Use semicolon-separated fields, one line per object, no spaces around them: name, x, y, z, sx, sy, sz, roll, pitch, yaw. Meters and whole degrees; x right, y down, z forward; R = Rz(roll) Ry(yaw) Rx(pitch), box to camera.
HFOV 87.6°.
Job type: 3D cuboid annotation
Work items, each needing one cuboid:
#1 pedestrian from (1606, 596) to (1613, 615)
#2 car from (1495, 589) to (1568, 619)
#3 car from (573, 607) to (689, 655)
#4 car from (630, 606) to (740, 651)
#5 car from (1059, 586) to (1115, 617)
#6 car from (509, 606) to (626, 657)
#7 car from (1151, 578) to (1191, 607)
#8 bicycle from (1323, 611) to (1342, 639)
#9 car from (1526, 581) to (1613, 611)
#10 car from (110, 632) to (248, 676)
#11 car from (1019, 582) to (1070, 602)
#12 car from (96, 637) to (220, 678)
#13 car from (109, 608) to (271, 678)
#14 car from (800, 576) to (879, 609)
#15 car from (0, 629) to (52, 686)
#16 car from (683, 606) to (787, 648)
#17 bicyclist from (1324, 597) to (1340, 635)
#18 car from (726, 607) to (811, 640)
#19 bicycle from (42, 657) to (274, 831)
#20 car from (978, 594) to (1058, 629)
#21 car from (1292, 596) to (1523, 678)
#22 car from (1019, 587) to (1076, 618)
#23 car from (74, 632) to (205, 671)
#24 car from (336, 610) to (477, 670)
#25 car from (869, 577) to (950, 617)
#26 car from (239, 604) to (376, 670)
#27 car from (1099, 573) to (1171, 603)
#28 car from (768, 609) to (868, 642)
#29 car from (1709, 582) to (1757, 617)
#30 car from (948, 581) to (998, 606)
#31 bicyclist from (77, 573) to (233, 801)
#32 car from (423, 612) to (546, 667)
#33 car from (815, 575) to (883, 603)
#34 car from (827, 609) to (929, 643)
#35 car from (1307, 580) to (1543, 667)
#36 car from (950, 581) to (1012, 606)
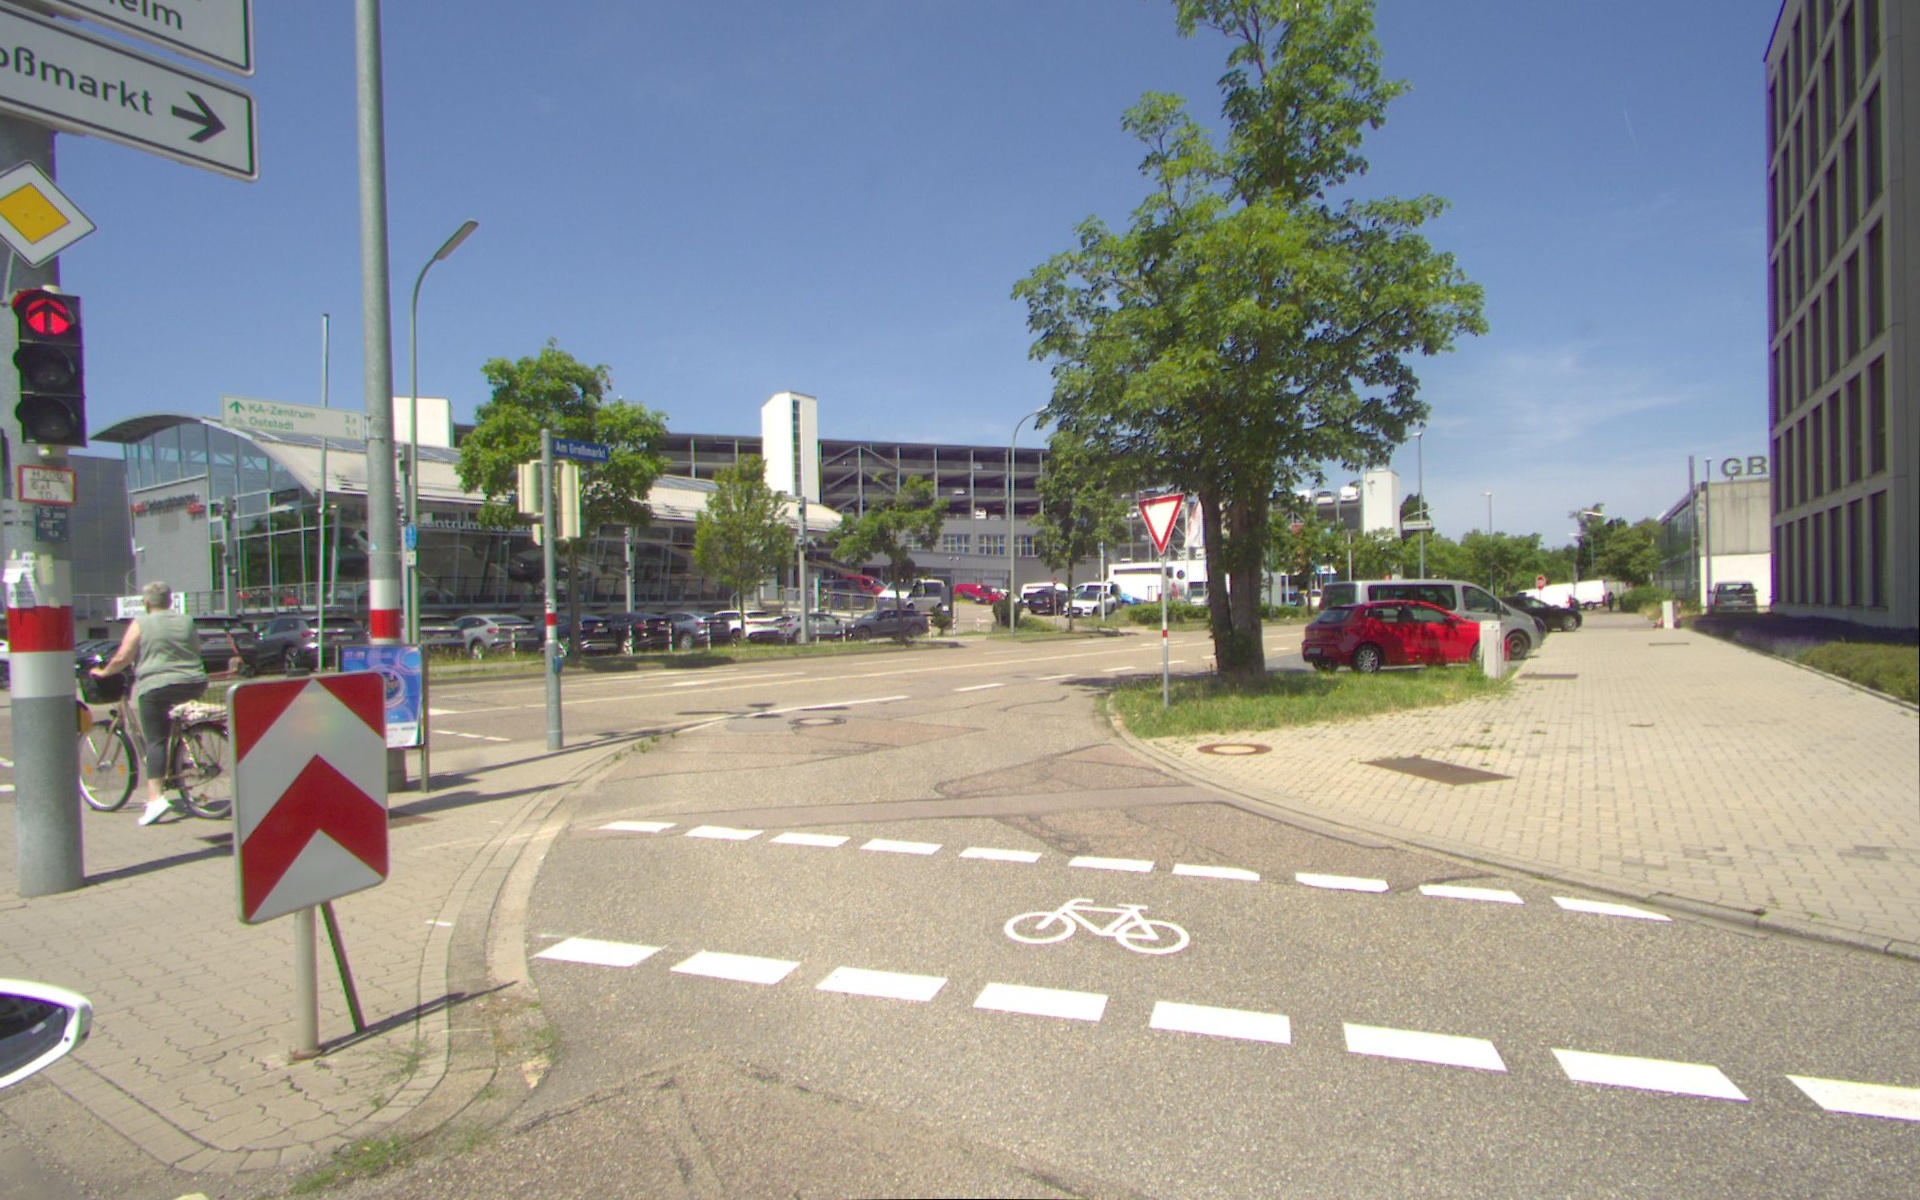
pedestrian;52.228;0.434;80.515;0.399;1.580;0.546;-1;1;33
car;41.491;0.308;72.701;4.513;2.039;1.990;-1;-2;33
car;-12.048;1.170;36.634;3.937;1.675;1.844;-1;-3;28
car;-10.700;1.141;38.900;3.937;1.675;1.844;-1;-3;28
car;7.664;0.143;60.232;1.970;1.727;3.983;-1;-2;30
car;-13.440;1.090;34.276;3.851;1.676;1.627;-1;-1;28
car;16.397;-0.531;77.605;1.812;2.039;3.981;-1;-2;31
bicycle;14.727;0.971;39.569;0.462;1.079;1.782;-1;0;29
car;54.911;-0.317;90.250;6.606;2.552;2.206;-2;-2;35
car;-30.709;2.117;39.471;1.633;1.642;3.980;-1;-3;32
car;7.760;-0.734;92.204;4.294;1.674;1.904;-1;0;31
car;-32.955;2.363;41.221;1.619;1.600;3.642;-1;-3;32
car;-19.531;1.110;25.344;4.442;1.578;1.863;-3;0;33
car;-6.758;-0.424;56.622;1.888;1.730;4.560;-1;0;35
car;-25.157;1.399;24.099;1.843;1.407;4.583;-2;-3;34
car;-9.269;1.155;41.187;3.937;1.675;1.844;-1;-3;28
bicyclist;14.675;0.634;39.490;0.449;1.490;0.714;-1;1;29
car;-9.885;1.184;51.654;3.938;1.591;1.842;-1;0;-28
bicycle;-6.102;1.033;7.603;1.864;1.148;0.628;0;-1;26
car;2.969;0.556;50.316;1.888;1.717;4.560;-1;0;35
car;8.950;0.725;20.181;3.923;1.451;1.699;-2;-1;-7
car;5.401;0.186;61.284;1.970;1.727;3.983;-1;-2;30
car;-34.676;2.170;42.413;1.610;1.593;3.977;-1;-3;32
car;-16.558;1.204;29.949;3.937;1.675;1.844;-1;-3;28
car;-2.651;-0.158;54.018;1.885;1.992;5.228;-1;0;29
car;-17.945;1.039;27.485;3.946;1.675;1.840;-2;-3;35
car;12.005;-0.776;68.869;4.521;1.912;1.904;-1;0;31
car;-7.013;1.251;49.684;4.527;1.491;1.902;-1;0;-34
car;42.204;0.018;54.736;1.772;1.750;3.978;-1;-2;34
car;0.984;-0.442;74.539;1.859;1.728;3.977;-1;-1;33
bicyclist;-6.107;0.637;7.609;0.812;1.626;0.628;-1;-1;26
car;-15.106;1.203;31.800;3.758;1.637;1.635;0;0;28
car;-7.326;-0.709;66.051;4.082;1.745;1.907;-1;0;25
car;-3.886;1.198;47.703;4.554;1.491;1.839;-1;0;-34
car;10.814;0.513;23.378;4.841;1.911;1.918;0;0;-12
car;1.650;-0.487;78.023;4.525;1.821;1.903;-1;0;34
